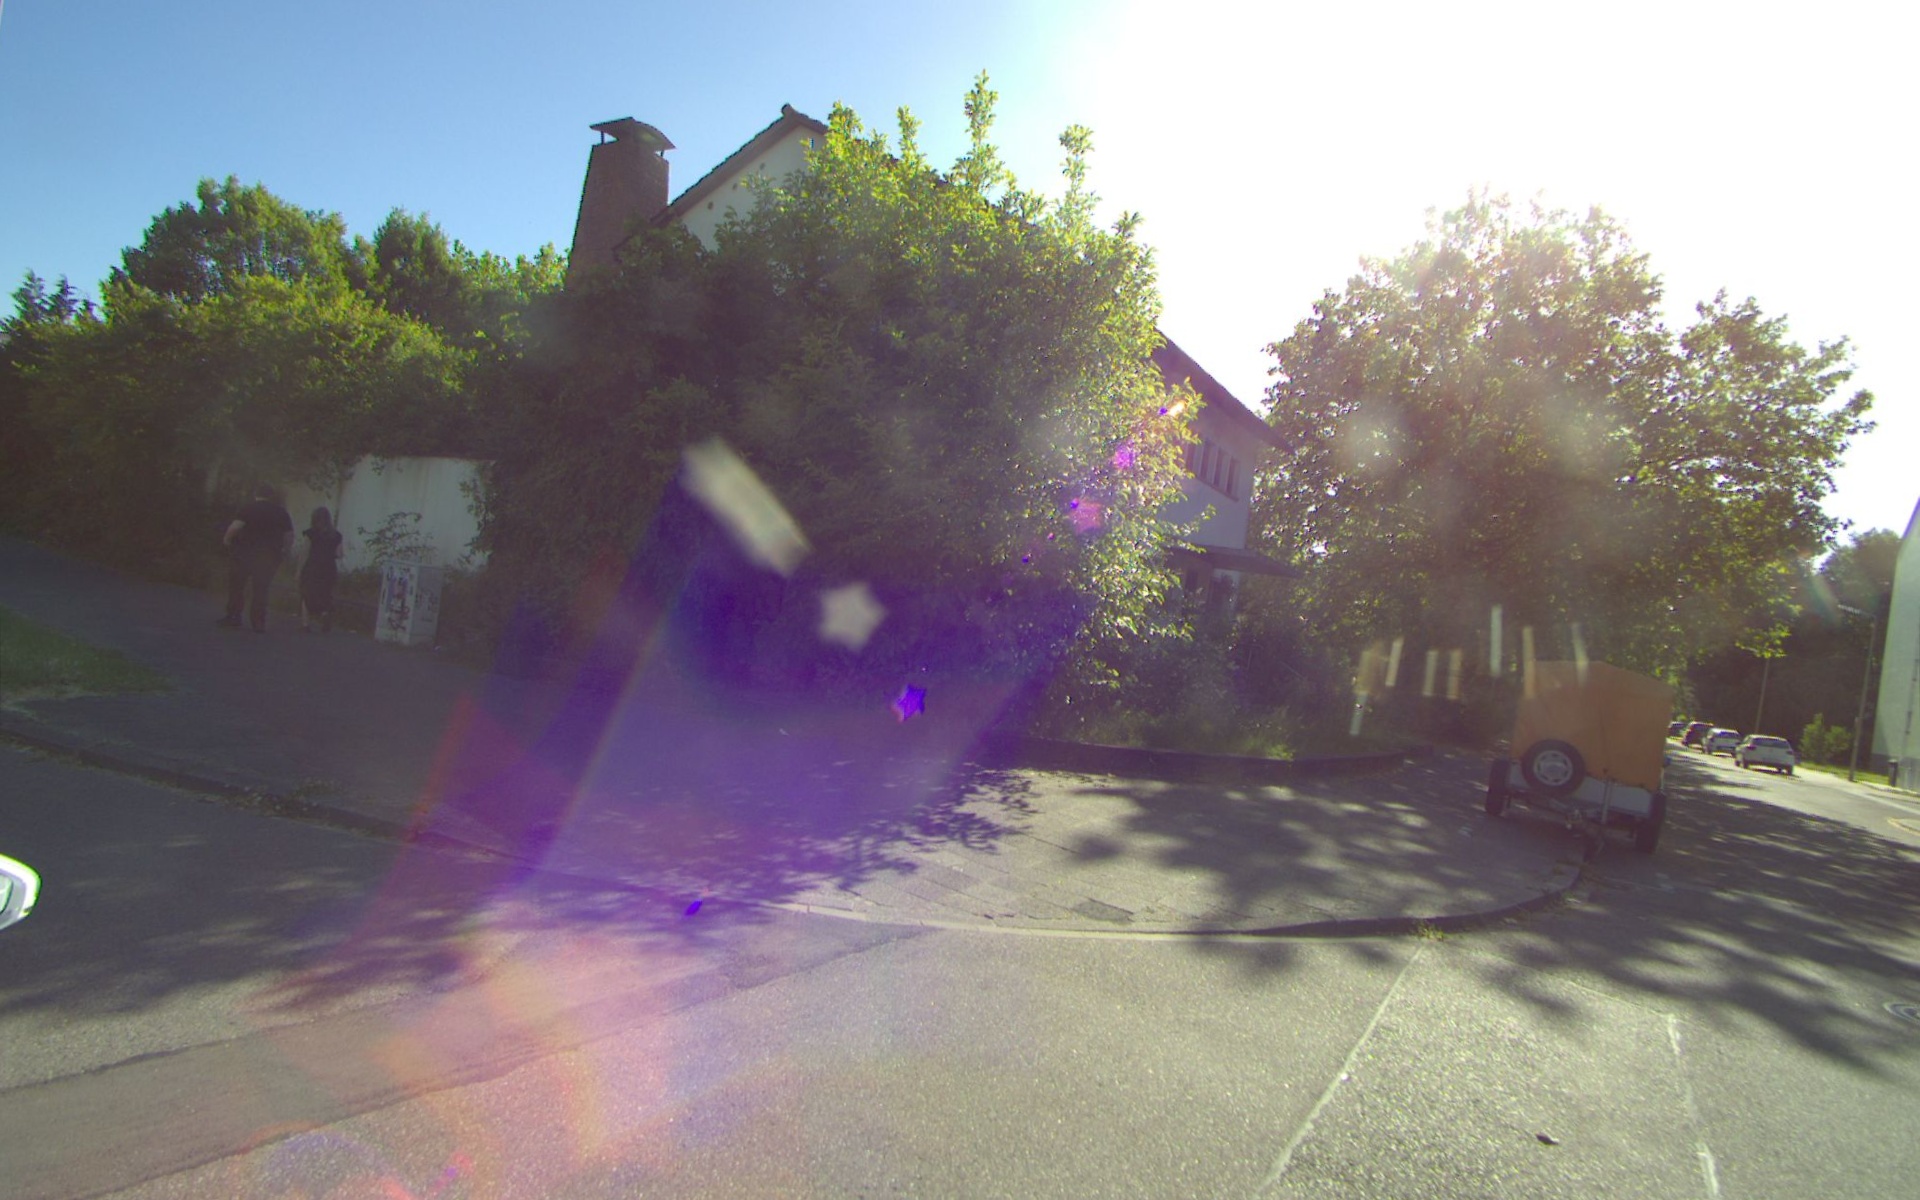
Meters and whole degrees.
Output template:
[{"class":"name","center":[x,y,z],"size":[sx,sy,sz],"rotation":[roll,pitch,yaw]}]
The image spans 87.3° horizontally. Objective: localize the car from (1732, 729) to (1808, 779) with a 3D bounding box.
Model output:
[{"class":"car","center":[34.045,6.416,42.389],"size":[2.034,1.670,3.991],"rotation":[5,-2,34]}]

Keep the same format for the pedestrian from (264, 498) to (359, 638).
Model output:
[{"class":"pedestrian","center":[-8.004,-0.389,12.416],"size":[0.779,1.630,0.573],"rotation":[7,1,30]}]

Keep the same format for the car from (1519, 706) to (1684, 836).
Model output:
[{"class":"car","center":[10.240,2.597,16.065],"size":[1.860,1.529,3.922],"rotation":[7,-1,34]}]

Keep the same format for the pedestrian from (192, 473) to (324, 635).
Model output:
[{"class":"pedestrian","center":[-8.175,-0.524,11.719],"size":[0.967,1.738,0.805],"rotation":[7,1,30]}]

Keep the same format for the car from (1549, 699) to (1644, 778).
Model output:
[{"class":"car","center":[17.465,3.740,27.572],"size":[1.844,1.670,3.991],"rotation":[10,0,34]}]

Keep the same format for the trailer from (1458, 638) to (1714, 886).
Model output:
[{"class":"trailer","center":[7.411,1.768,12.013],"size":[1.946,2.145,4.067],"rotation":[9,0,33]}]
